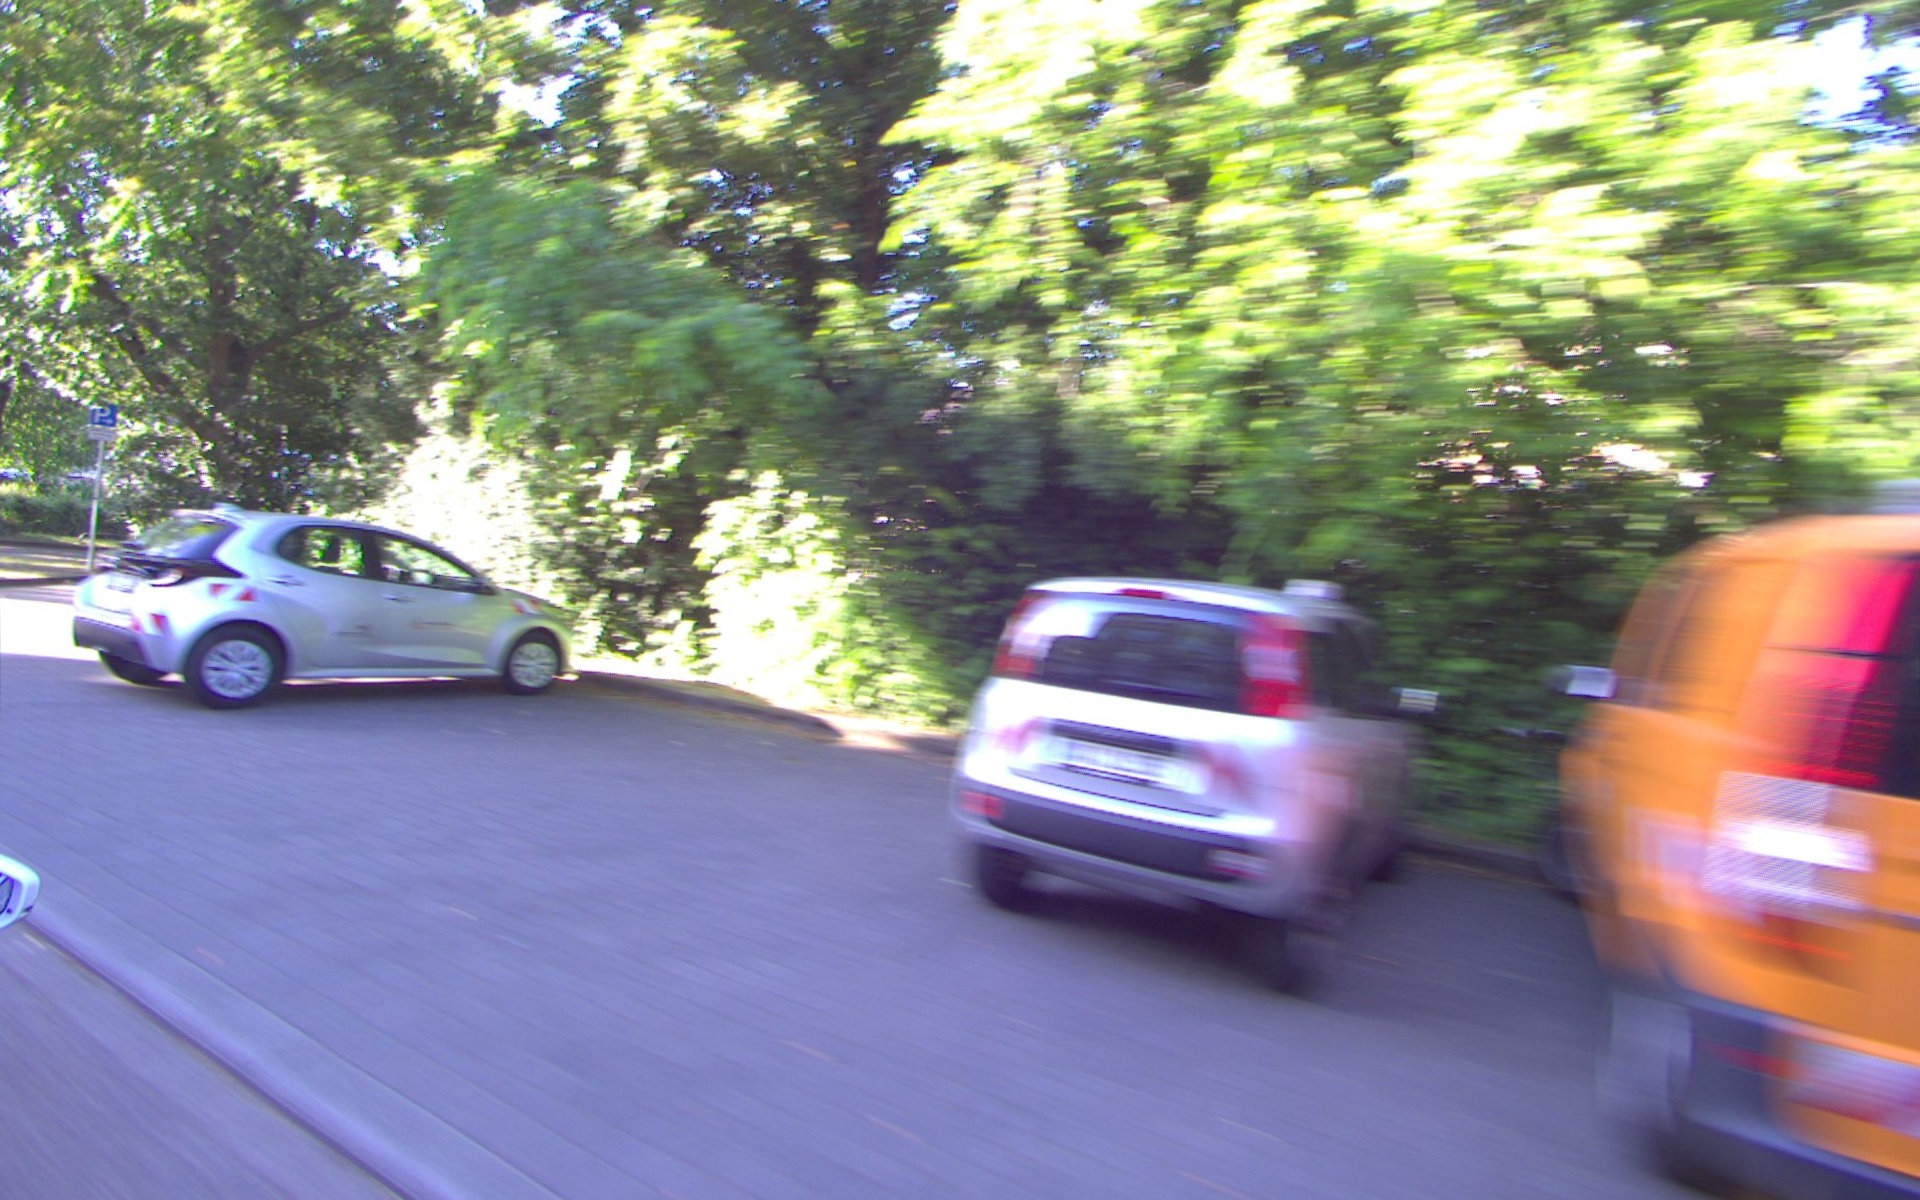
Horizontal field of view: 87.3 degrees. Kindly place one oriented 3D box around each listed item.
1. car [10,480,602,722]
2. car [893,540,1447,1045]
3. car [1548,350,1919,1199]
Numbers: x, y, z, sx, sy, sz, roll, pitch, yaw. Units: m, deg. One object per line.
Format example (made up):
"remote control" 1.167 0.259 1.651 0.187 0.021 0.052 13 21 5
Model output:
"car" -5.398 0.021 8.869 1.706 1.567 3.989 6 2 30
"car" 1.376 0.703 5.332 1.652 1.653 3.396 7 2 32
"car" 3.552 0.677 3.691 2.045 2.024 4.800 6 2 28
